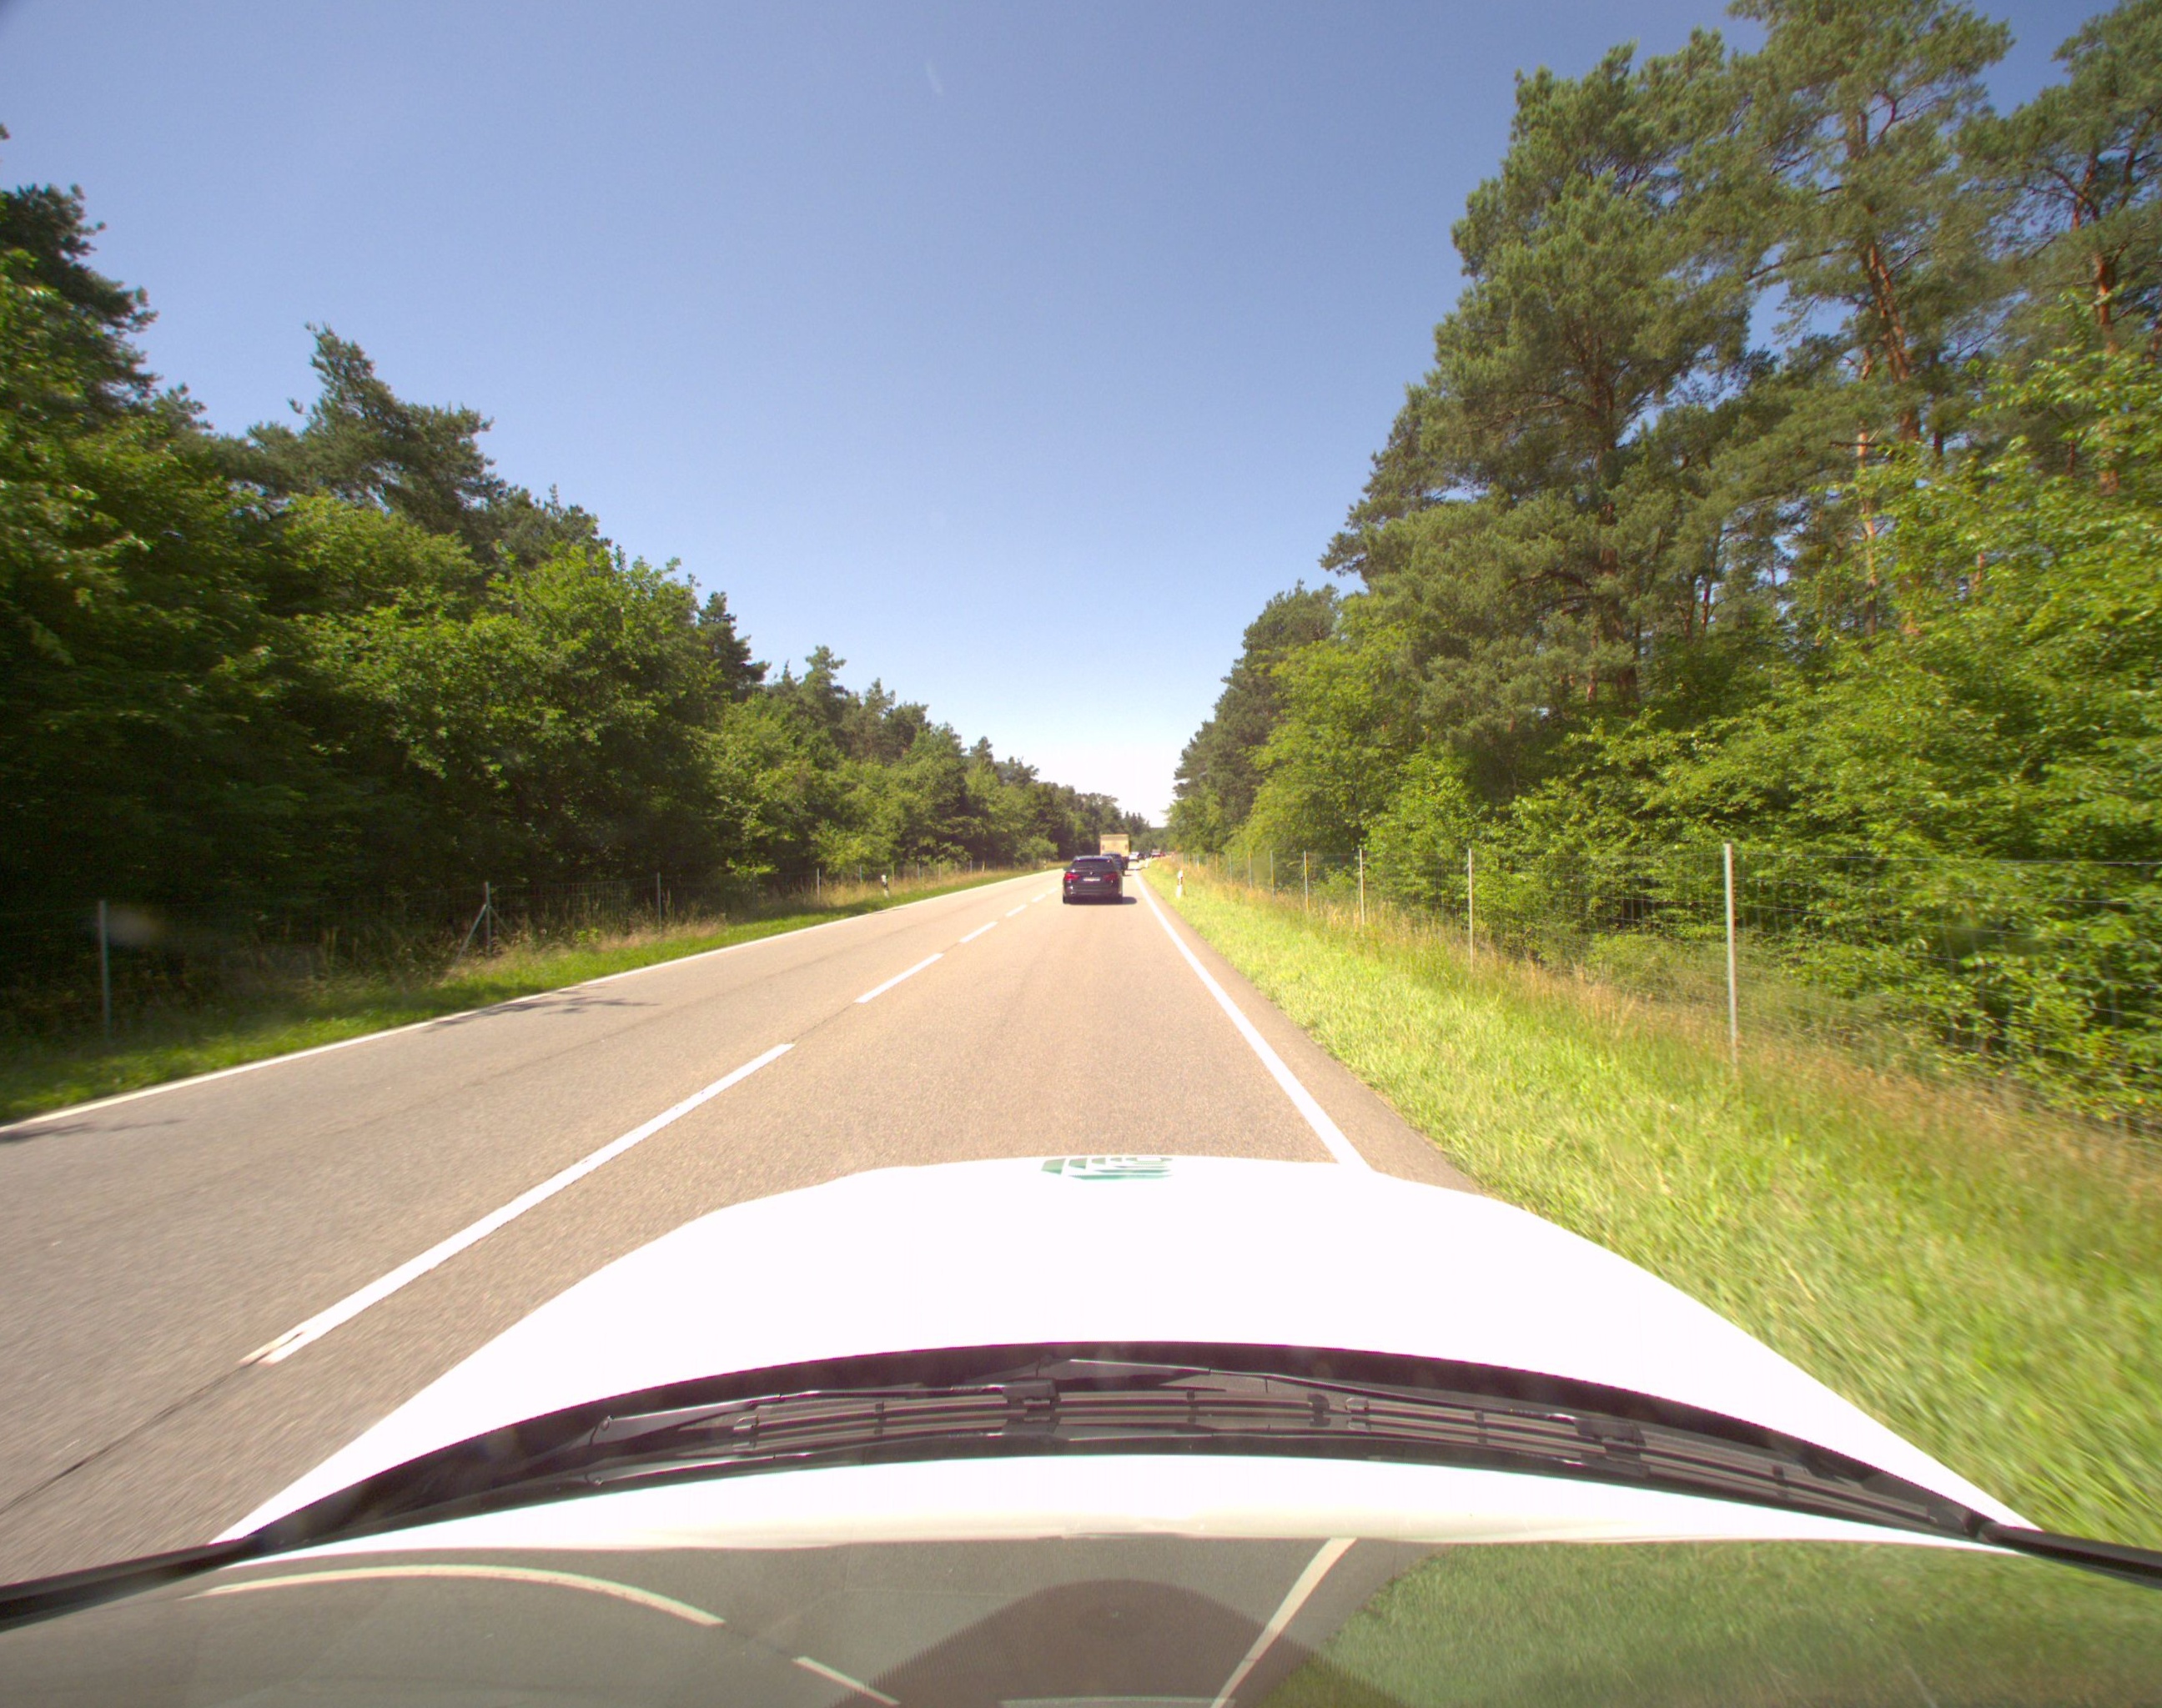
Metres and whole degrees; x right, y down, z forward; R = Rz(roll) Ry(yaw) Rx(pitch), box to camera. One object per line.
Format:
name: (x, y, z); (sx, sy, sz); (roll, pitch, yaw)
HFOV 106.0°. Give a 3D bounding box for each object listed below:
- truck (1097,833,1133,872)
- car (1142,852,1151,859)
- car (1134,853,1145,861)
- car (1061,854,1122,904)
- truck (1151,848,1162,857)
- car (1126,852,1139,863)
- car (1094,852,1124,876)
truck: (3.087, -0.141, 75.739); (2.956, 3.387, 6.438); (-2, 0, 0)
car: (15.794, 0.414, 196.191); (1.984, 1.636, 4.006); (-2, 0, 5)
car: (11.654, 0.573, 163.100); (1.986, 1.420, 4.002); (-1, 0, 2)
car: (0.307, 0.751, 26.092); (1.815, 1.470, 3.999); (0, 0, 0)
truck: (20.296, -0.346, 219.746); (2.549, 2.202, 4.986); (-2, 0, 9)
car: (8.382, 0.557, 132.906); (1.856, 1.605, 4.002); (-2, 0, 2)
car: (1.932, 0.646, 56.496); (1.940, 1.541, 4.002); (-2, 0, 2)
